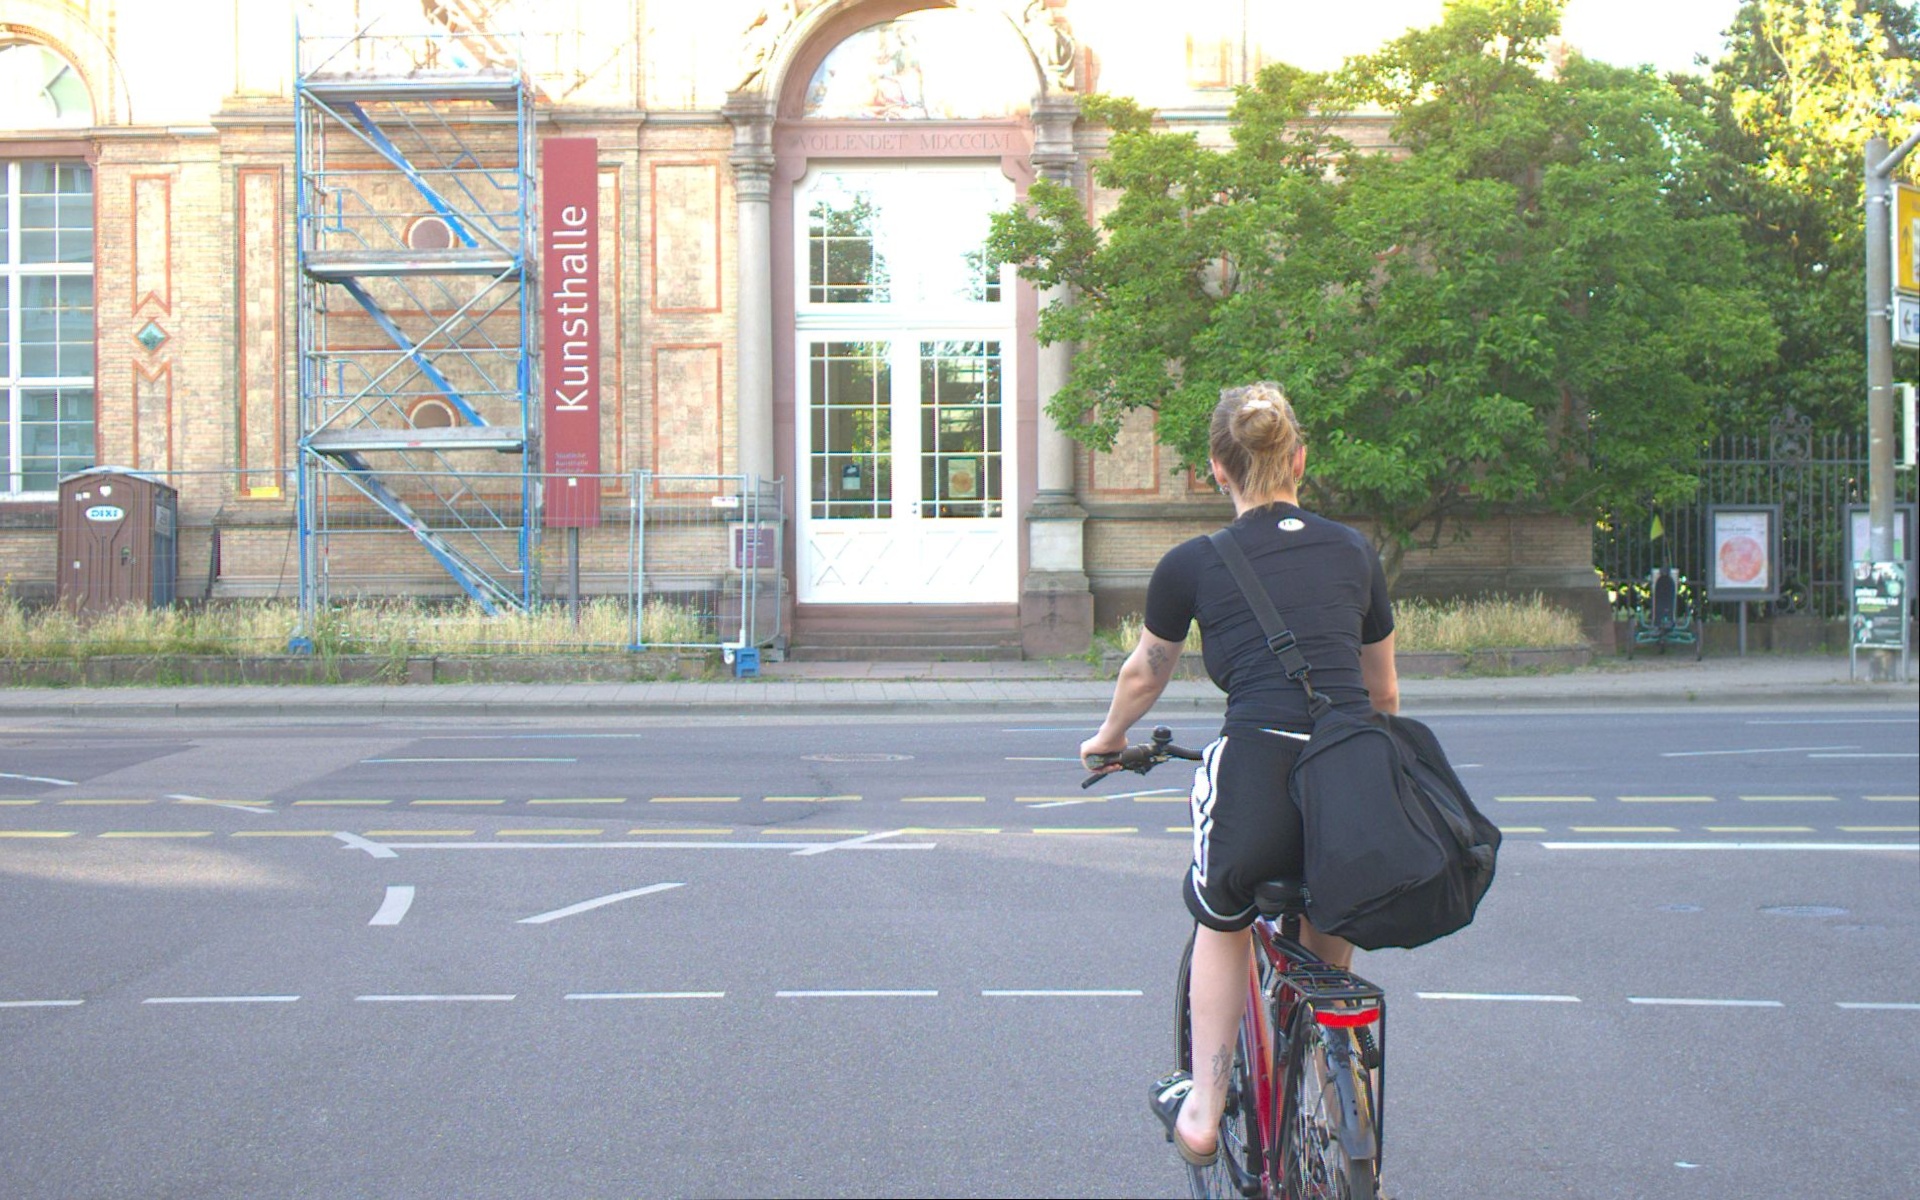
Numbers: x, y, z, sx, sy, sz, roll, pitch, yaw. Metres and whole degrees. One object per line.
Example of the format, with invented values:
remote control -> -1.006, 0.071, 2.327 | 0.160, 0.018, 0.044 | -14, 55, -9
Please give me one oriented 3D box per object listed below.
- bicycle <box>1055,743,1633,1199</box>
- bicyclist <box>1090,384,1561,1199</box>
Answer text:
bicycle -> 0.626, 0.873, 6.357 | 0.711, 1.152, 2.069 | 0, -1, -4
bicyclist -> 0.637, 0.387, 6.253 | 0.716, 1.497, 0.851 | 0, -1, -3
